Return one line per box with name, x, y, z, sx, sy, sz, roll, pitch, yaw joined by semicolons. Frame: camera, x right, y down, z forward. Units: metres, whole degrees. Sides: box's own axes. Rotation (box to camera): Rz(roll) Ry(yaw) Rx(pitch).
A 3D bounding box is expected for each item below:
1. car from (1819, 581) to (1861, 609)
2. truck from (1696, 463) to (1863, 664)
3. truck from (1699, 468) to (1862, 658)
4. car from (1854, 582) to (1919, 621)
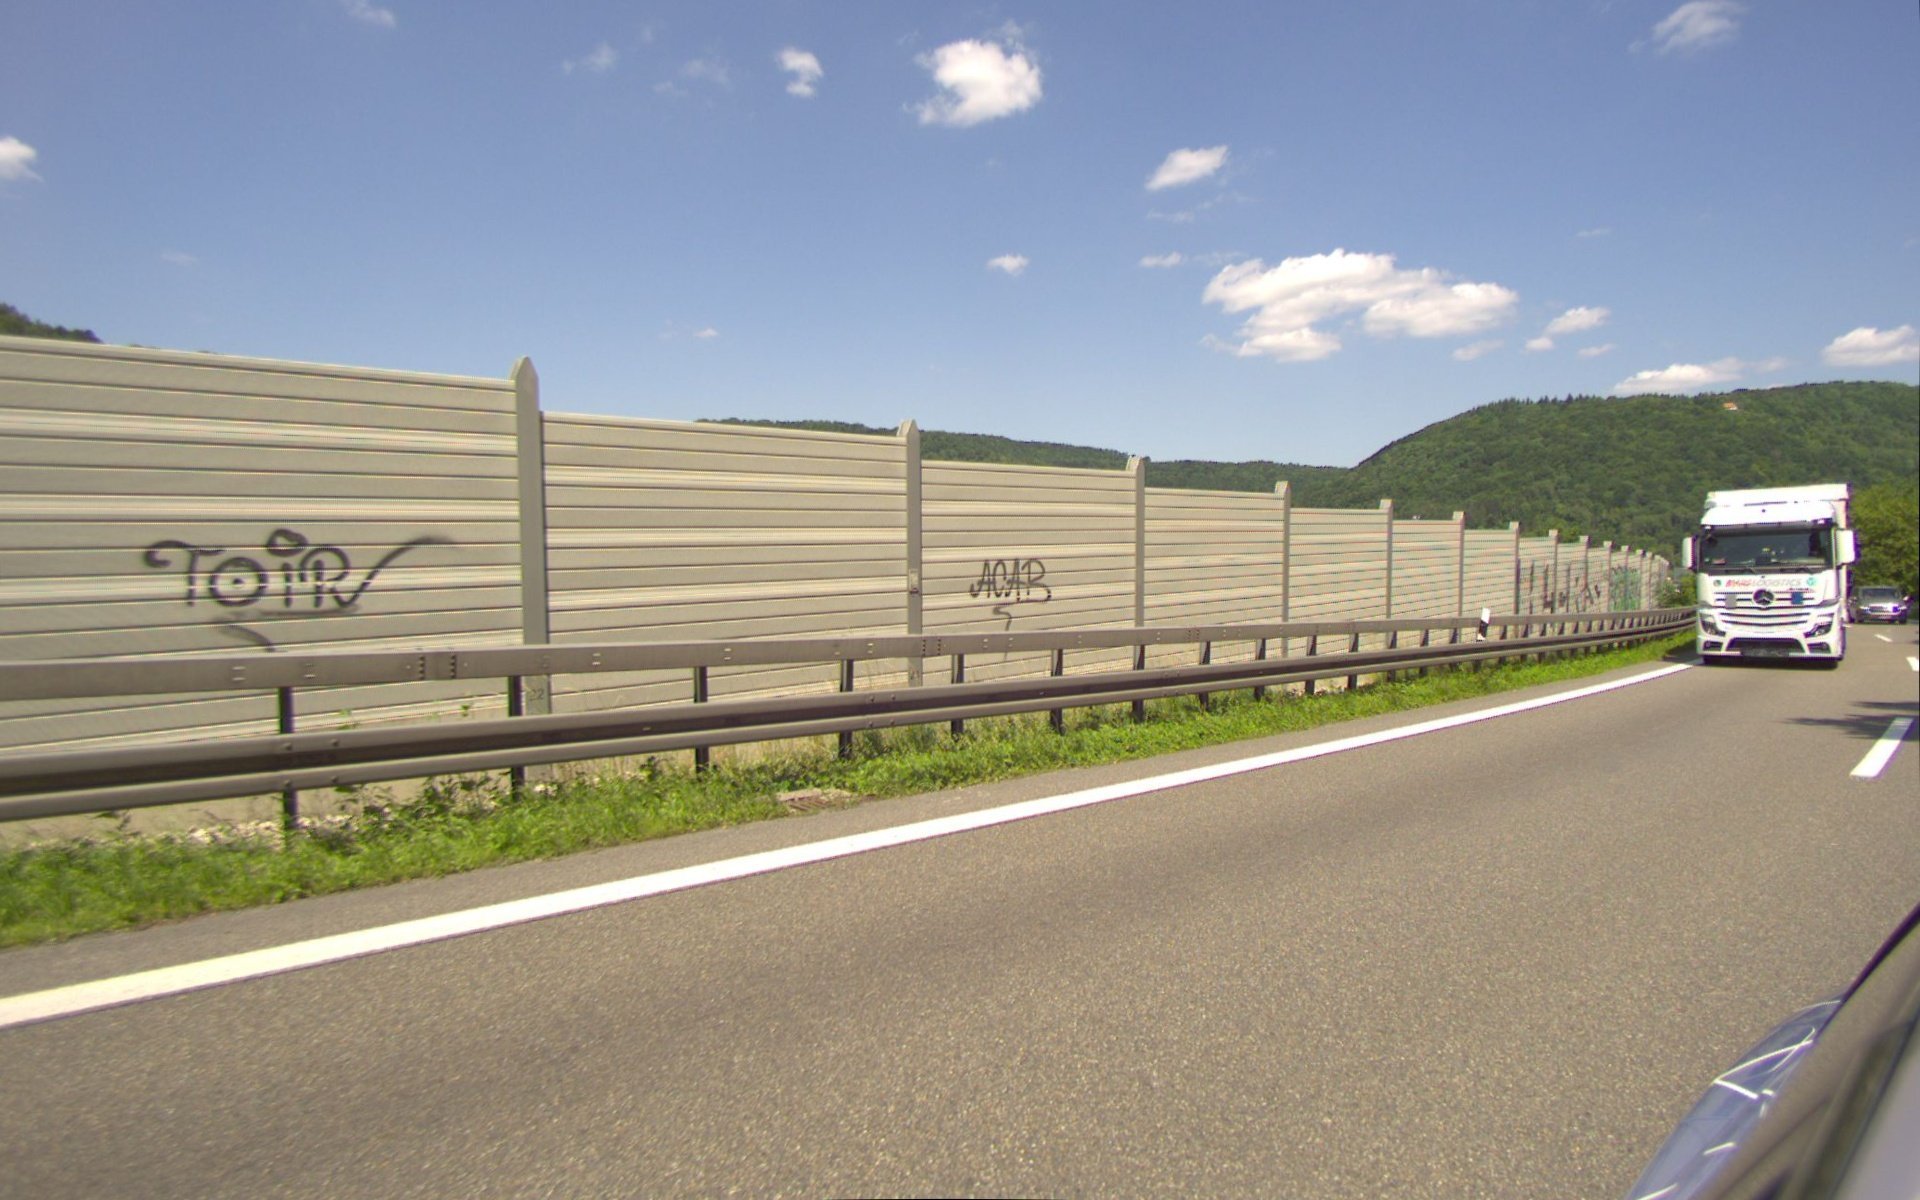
car;65.924;-0.372;75.888;1.988;2.039;3.949;1;1;36
truck;19.617;-0.783;24.137;2.755;4.089;6.722;1;1;41
truck;22.736;-0.838;27.864;2.851;4.200;11.869;-1;-1;41
car;47.305;0.076;51.695;2.033;1.889;3.947;2;1;36
